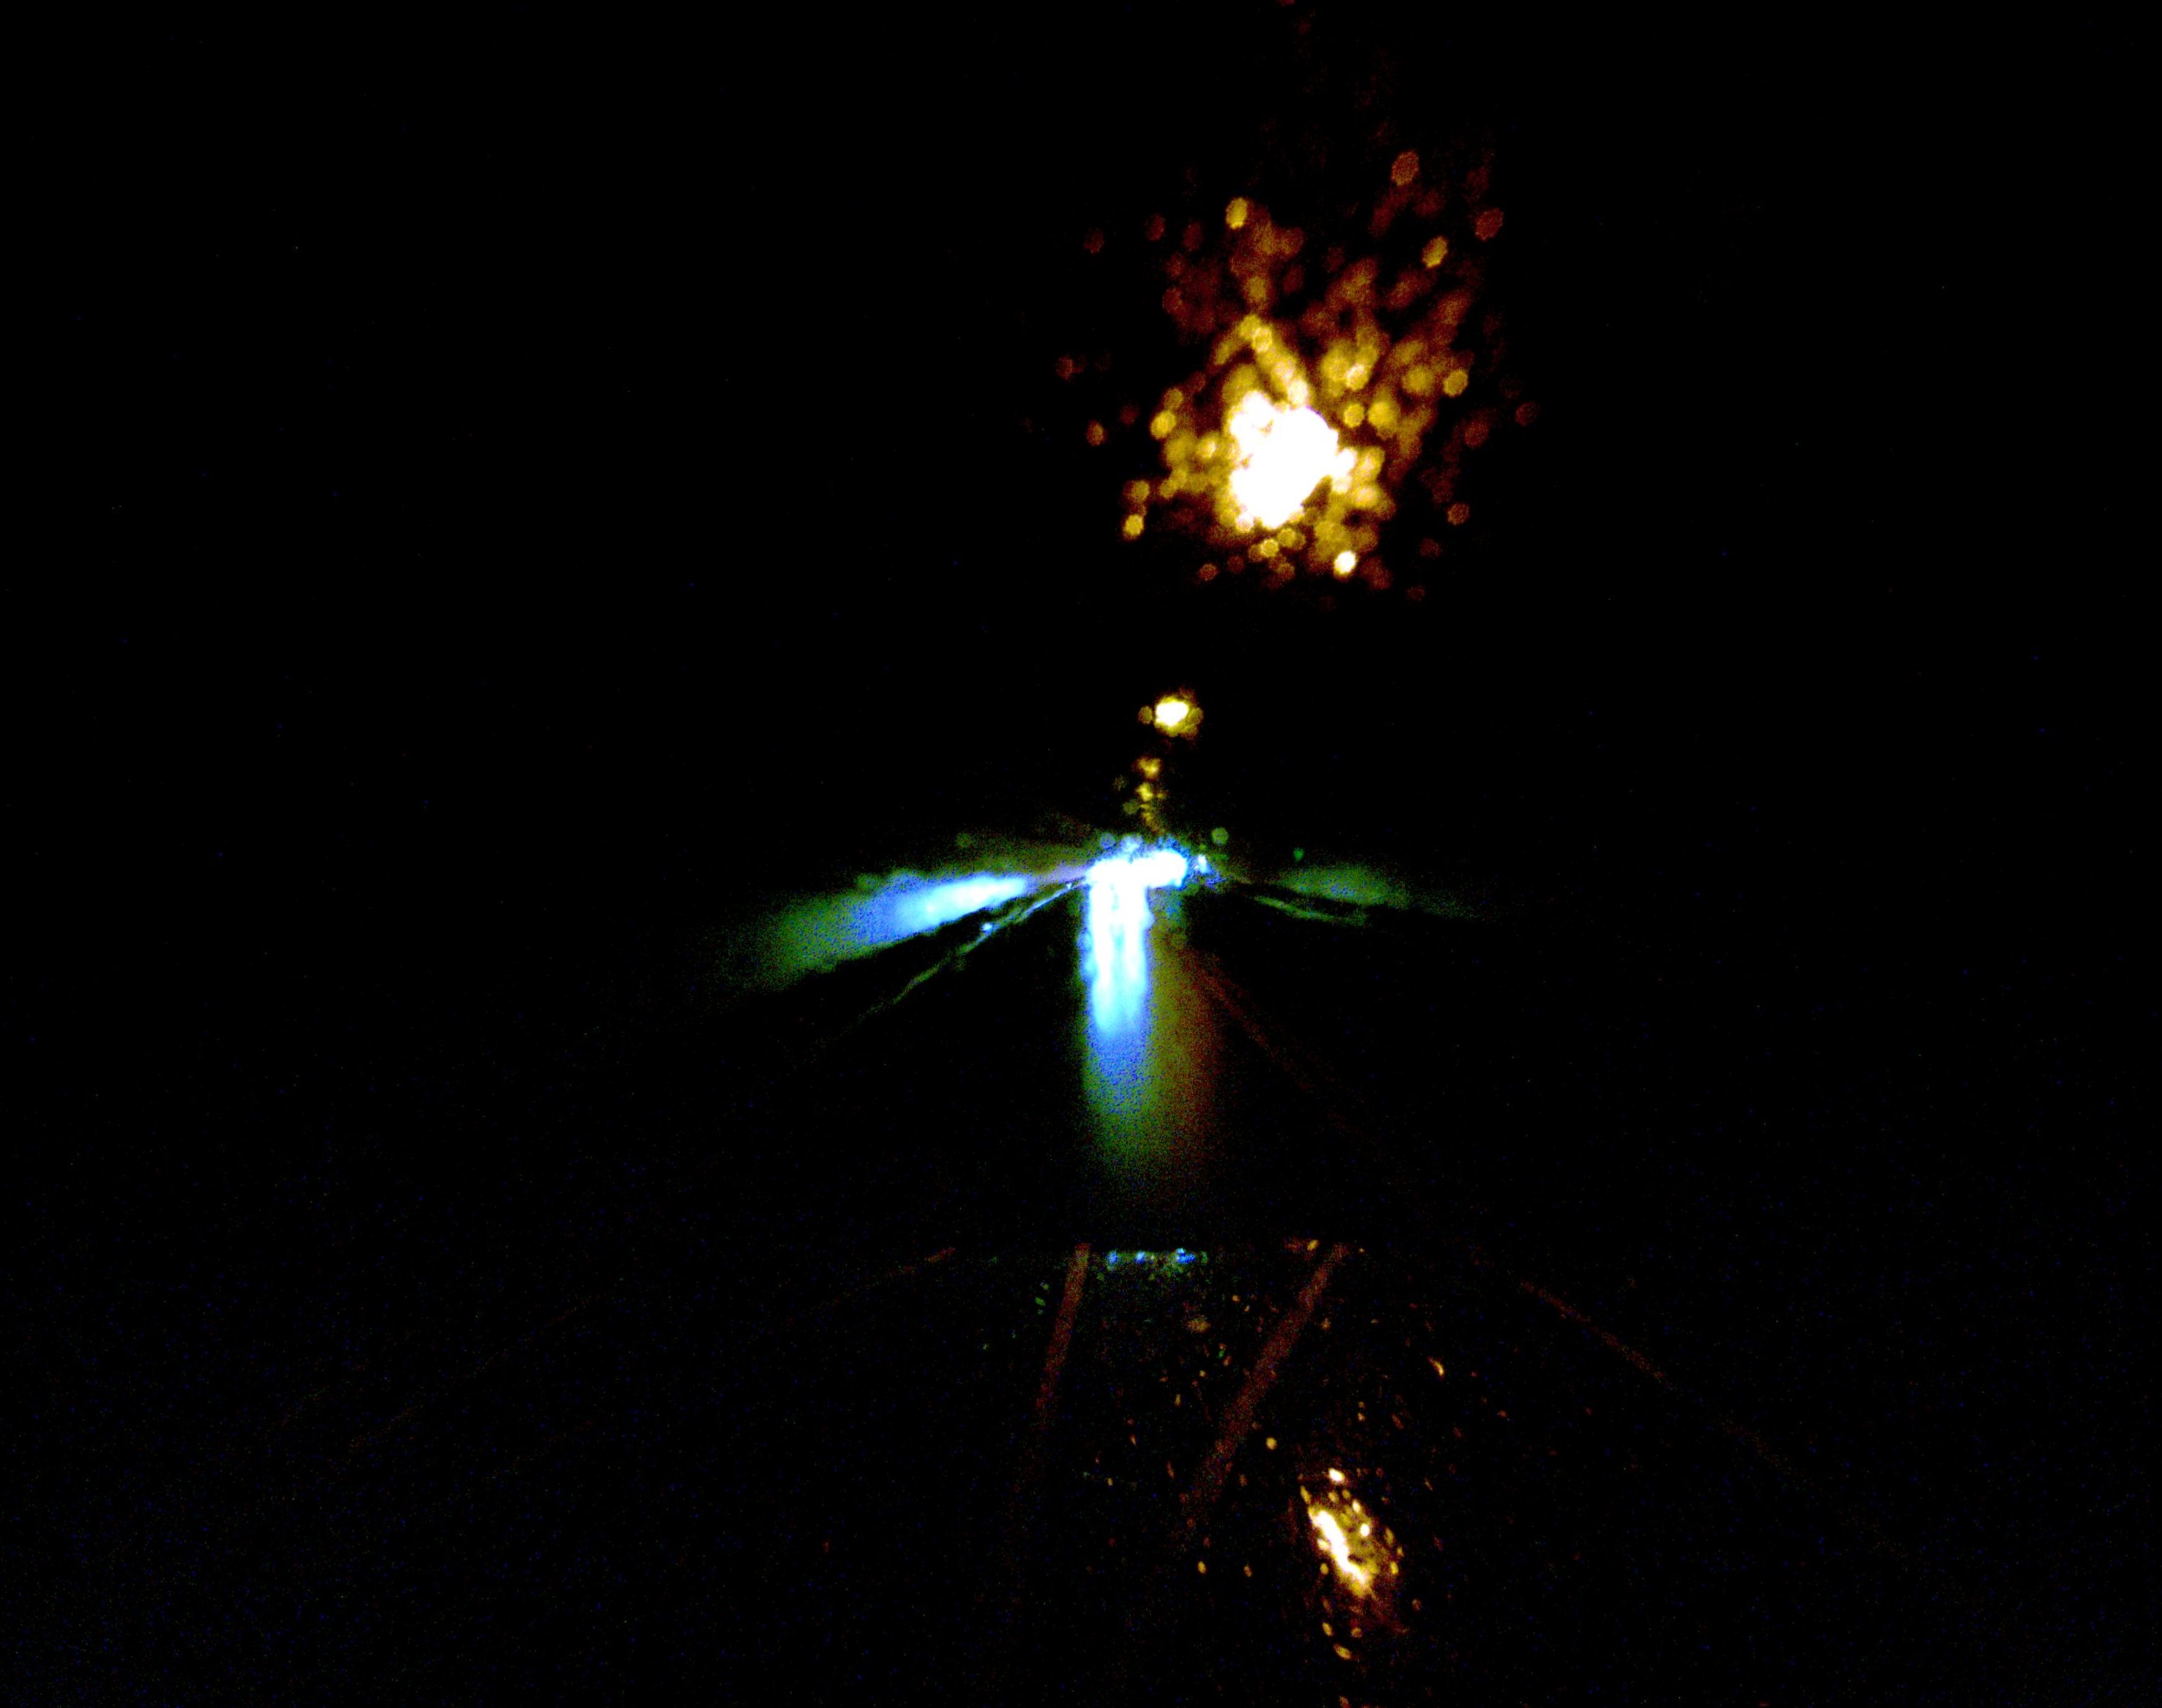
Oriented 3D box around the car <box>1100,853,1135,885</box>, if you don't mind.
[{"bbox_3d":[2.056,0.792,42.159,1.729,1.595,4.001,-3,0,5],"label":"car"}]
